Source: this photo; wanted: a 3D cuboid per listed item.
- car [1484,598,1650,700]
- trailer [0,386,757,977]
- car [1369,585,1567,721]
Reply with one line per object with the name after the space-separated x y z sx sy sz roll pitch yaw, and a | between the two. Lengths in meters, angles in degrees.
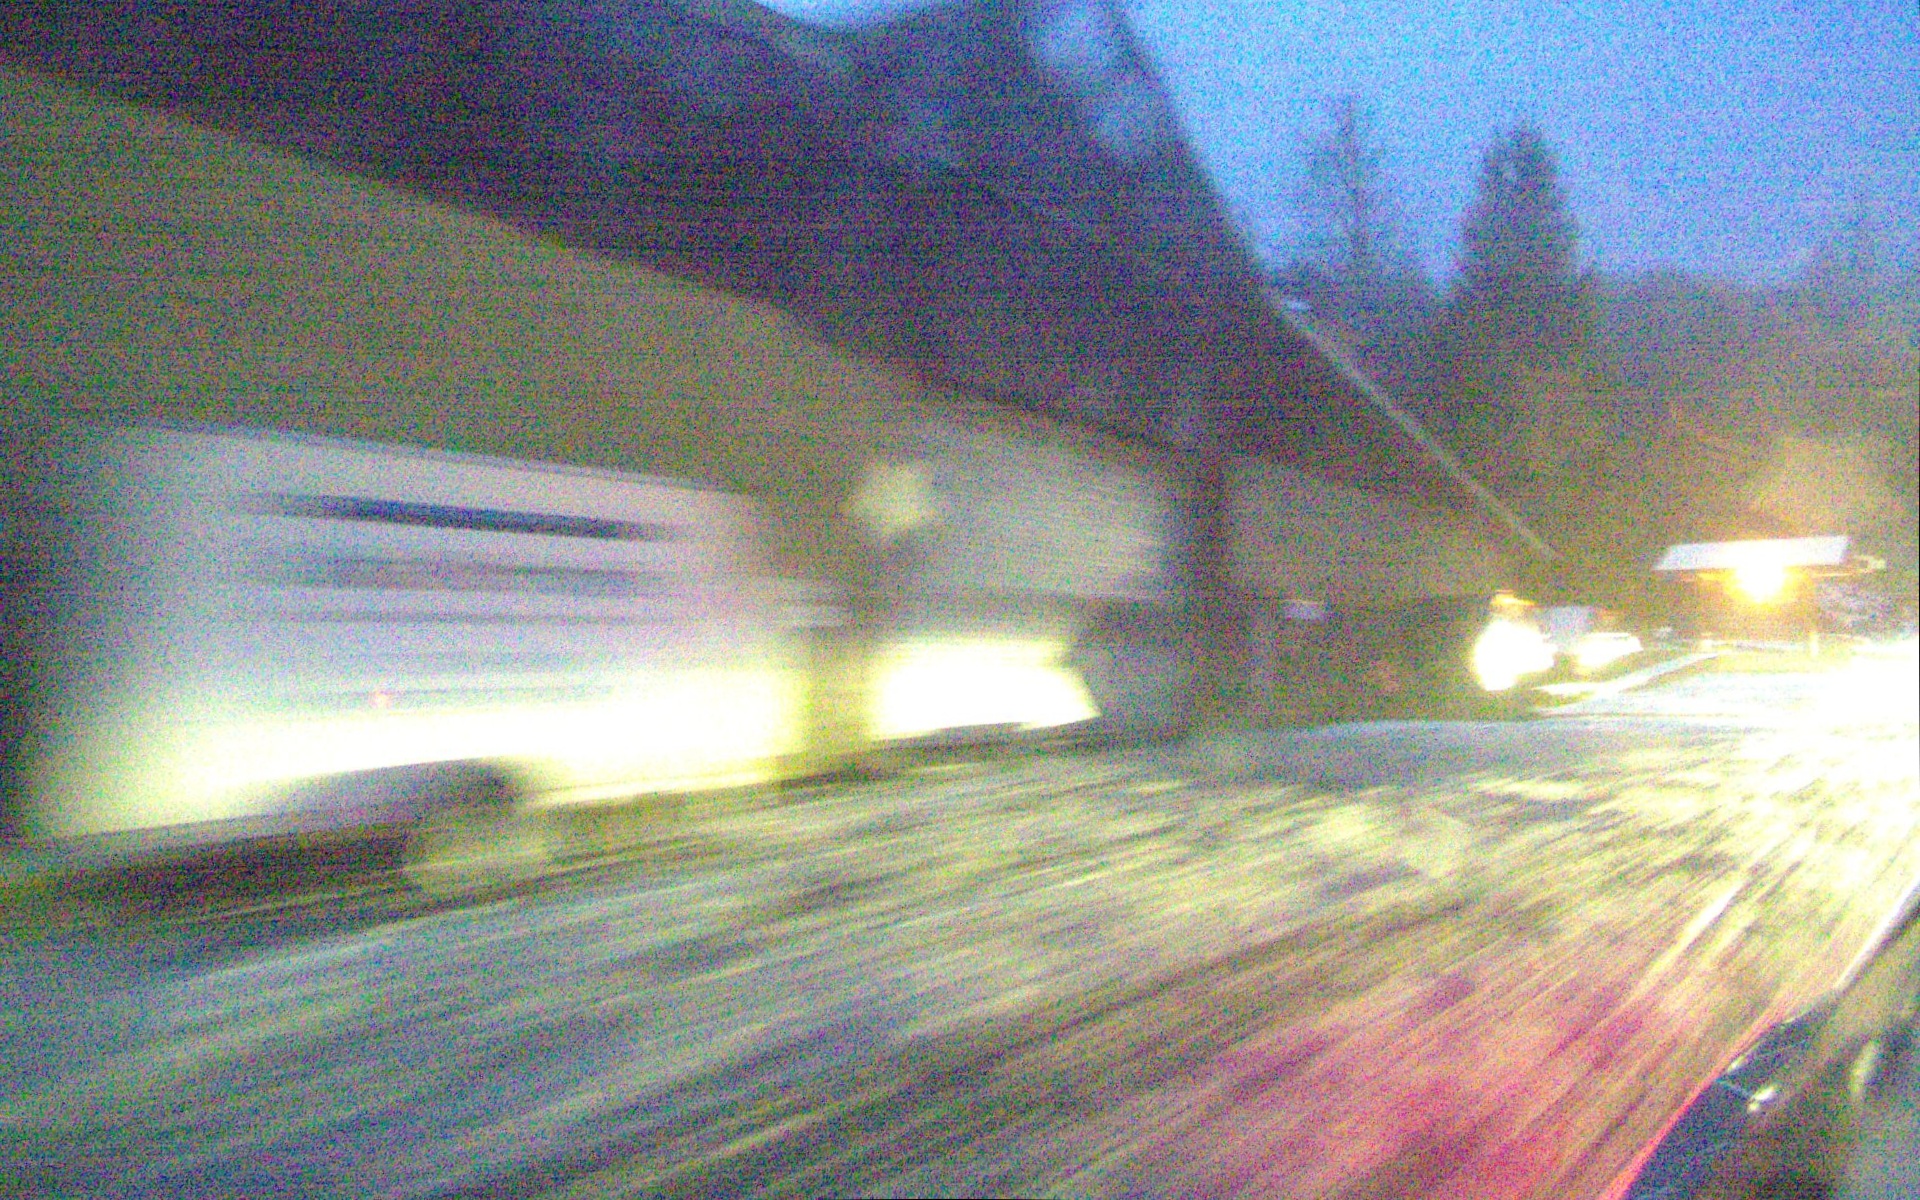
12.306 0.908 20.412 4.088 1.833 1.878 0 -2 -45 | car
-3.459 0.360 5.557 4.355 2.383 1.607 0 -4 -43 | trailer
8.883 0.820 17.527 1.877 2.066 4.323 -3 -2 43 | car
